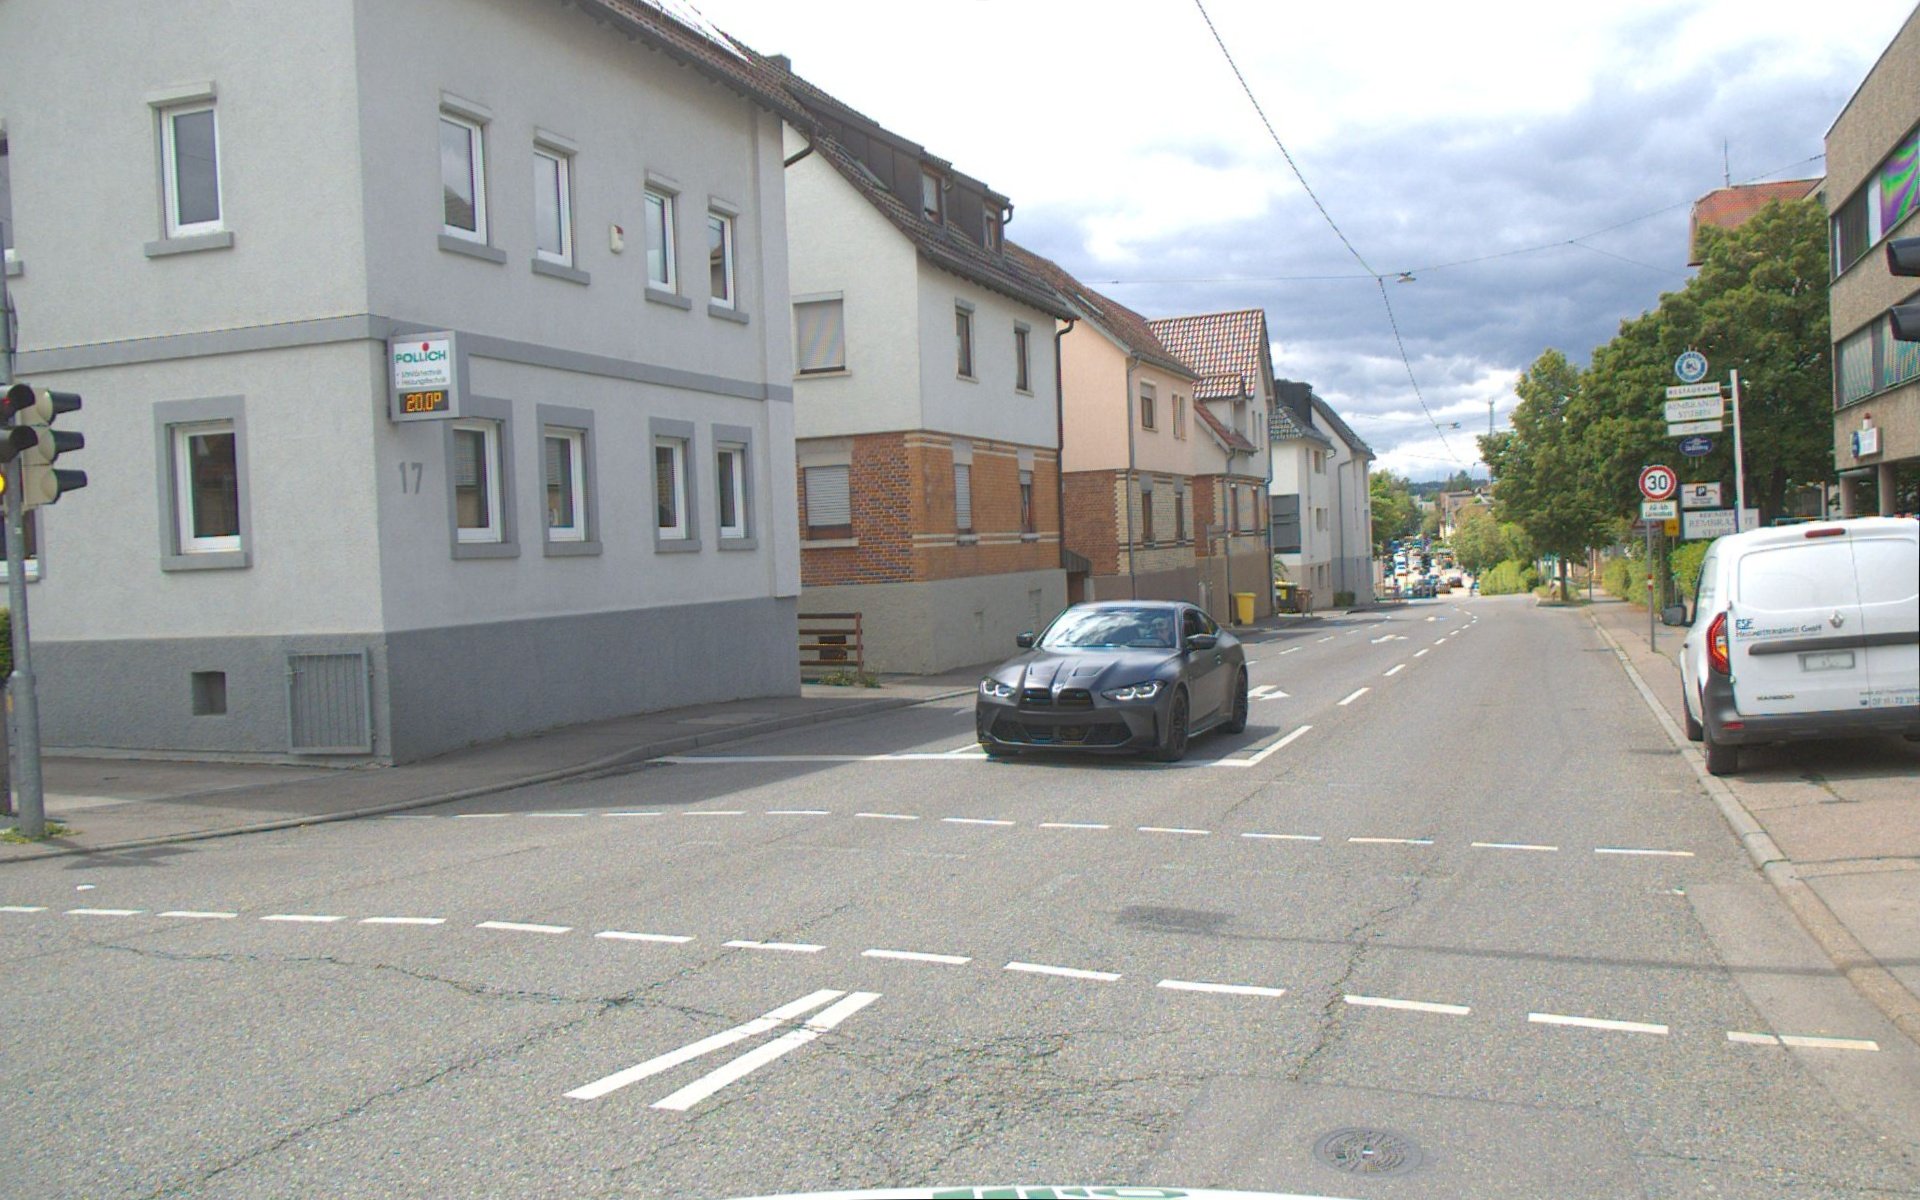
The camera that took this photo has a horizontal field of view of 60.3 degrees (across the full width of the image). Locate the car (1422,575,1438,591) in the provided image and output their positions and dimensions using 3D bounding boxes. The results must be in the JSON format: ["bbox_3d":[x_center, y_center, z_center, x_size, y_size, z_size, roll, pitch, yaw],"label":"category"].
[{"bbox_3d":[65.099,-2.345,229.041,1.951,2.049,4.003,-3,-1,15],"label":"car"}]

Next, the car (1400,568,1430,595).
[{"bbox_3d":[37.235,-1.511,135.469,1.951,2.049,4.004,-2,0,11],"label":"car"}]

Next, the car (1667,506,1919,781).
[{"bbox_3d":[7.053,0.255,13.647,1.872,1.825,4.492,-5,-1,20],"label":"car"}]

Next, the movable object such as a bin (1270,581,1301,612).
[{"bbox_3d":[14.341,-0.148,72.804,1.254,1.332,0.817,-2,0,14],"label":"movable object such as a bin"}]

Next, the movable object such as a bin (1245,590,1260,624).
[{"bbox_3d":[10.131,0.237,57.333,0.422,1.147,0.299,-3,0,19],"label":"movable object such as a bin"}]

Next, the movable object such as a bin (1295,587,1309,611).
[{"bbox_3d":[15.251,-0.055,73.689,0.520,1.048,0.455,-2,0,18],"label":"movable object such as a bin"}]

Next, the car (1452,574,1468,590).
[{"bbox_3d":[70.396,-2.554,232.964,1.951,2.049,4.003,-3,-1,15],"label":"car"}]

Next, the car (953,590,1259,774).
[{"bbox_3d":[1.617,0.674,16.378,1.952,1.482,4.619,0,1,19],"label":"car"}]

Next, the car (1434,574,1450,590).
[{"bbox_3d":[63.727,-2.399,218.655,1.951,2.049,4.003,-3,-1,15],"label":"car"}]
